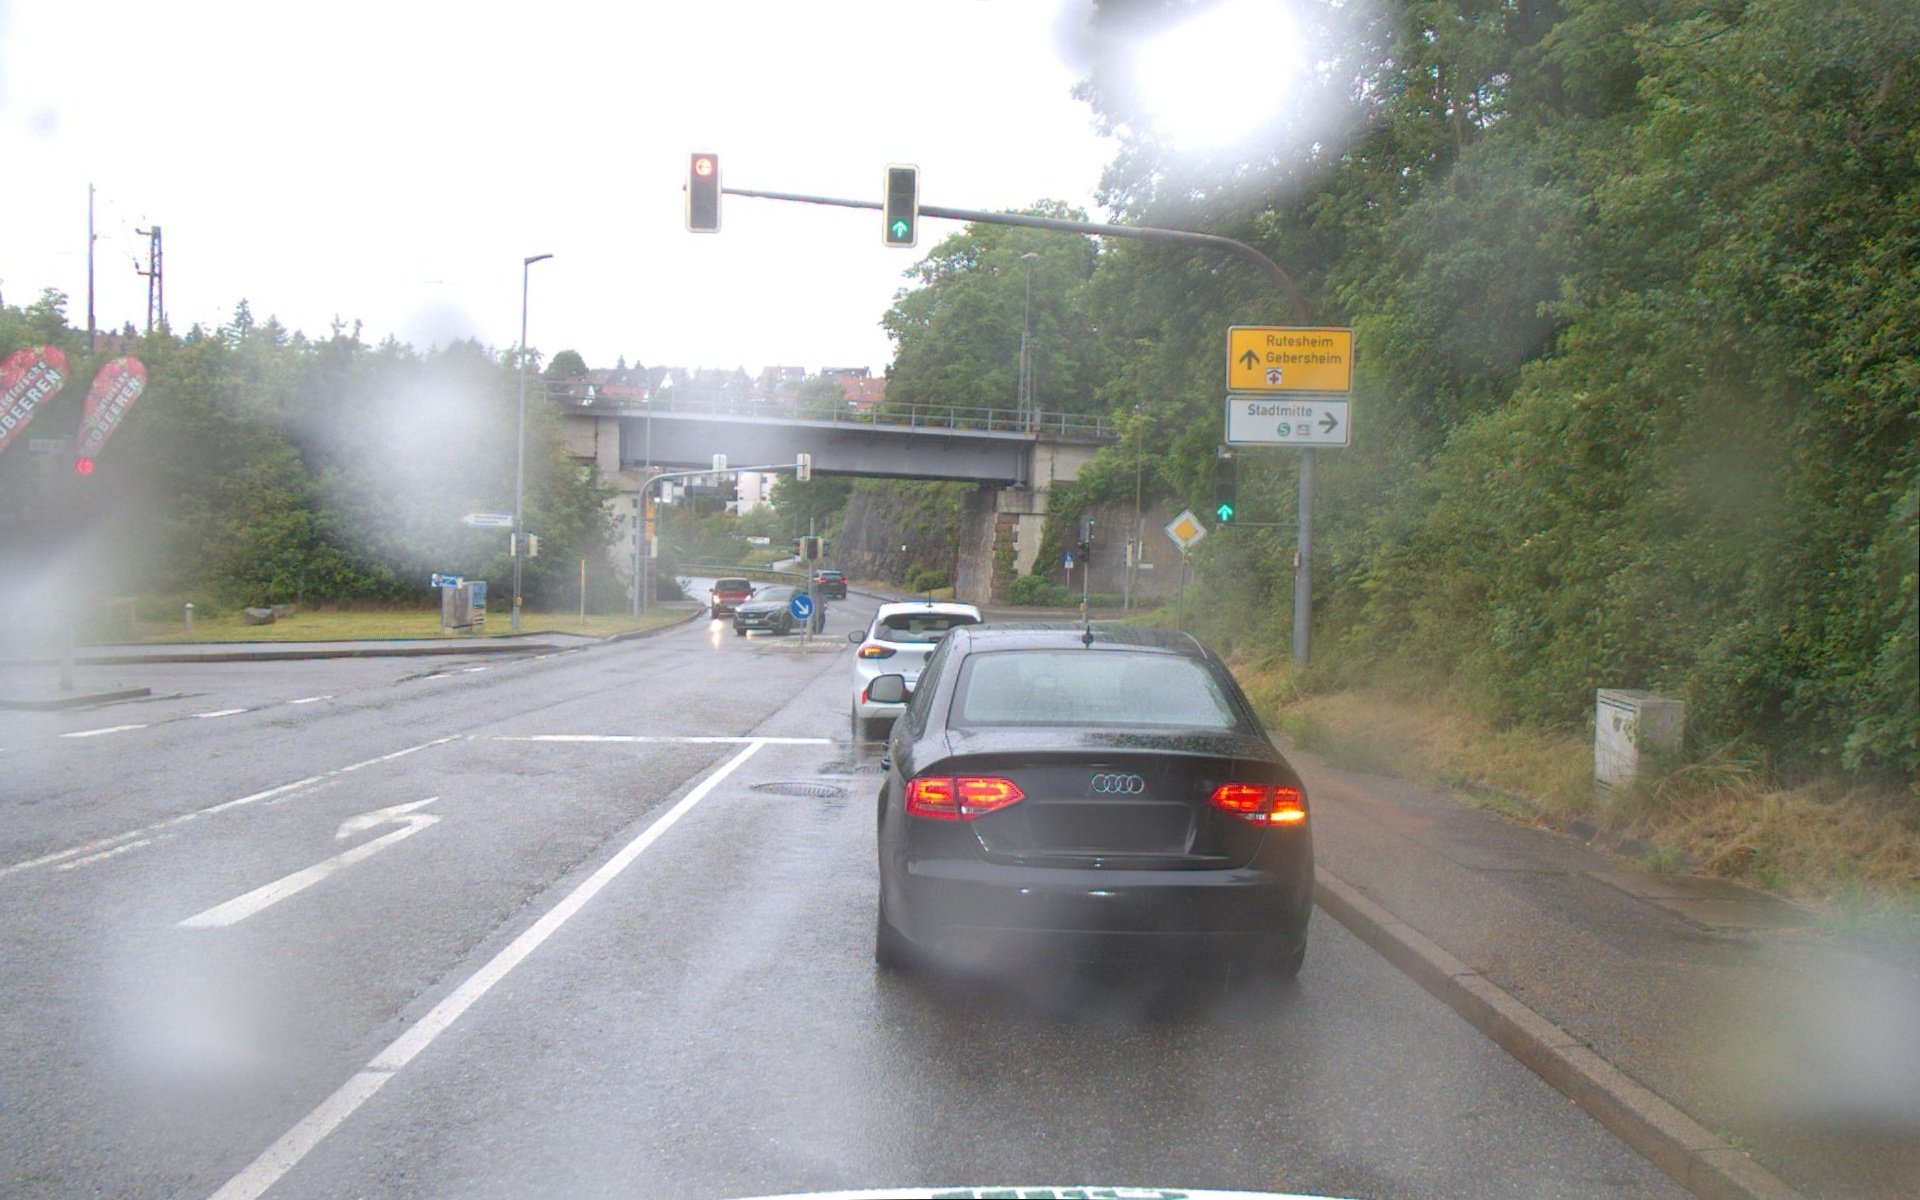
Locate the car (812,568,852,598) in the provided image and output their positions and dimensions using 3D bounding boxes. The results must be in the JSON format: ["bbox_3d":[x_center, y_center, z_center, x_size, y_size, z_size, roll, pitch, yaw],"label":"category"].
[{"bbox_3d":[-7.468,-0.995,96.153,1.957,1.623,3.991,0,2,-10],"label":"car"}]

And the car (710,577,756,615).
[{"bbox_3d":[-10.163,-0.174,74.162,1.956,1.657,3.993,0,0,-8],"label":"car"}]

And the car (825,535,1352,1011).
[{"bbox_3d":[0.422,0.637,7.766,1.832,1.645,3.999,1,-1,-1],"label":"car"}]

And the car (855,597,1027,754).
[{"bbox_3d":[-0.230,0.819,19.222,1.786,1.613,3.999,1,-1,-1],"label":"car"}]

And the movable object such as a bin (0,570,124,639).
[{"bbox_3d":[-24.260,0.115,40.974,2.699,1.656,5.752,0,-1,39],"label":"movable object such as a bin"}]

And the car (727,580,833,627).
[{"bbox_3d":[-5.896,0.096,54.692,1.607,1.495,3.996,0,0,26],"label":"car"}]
